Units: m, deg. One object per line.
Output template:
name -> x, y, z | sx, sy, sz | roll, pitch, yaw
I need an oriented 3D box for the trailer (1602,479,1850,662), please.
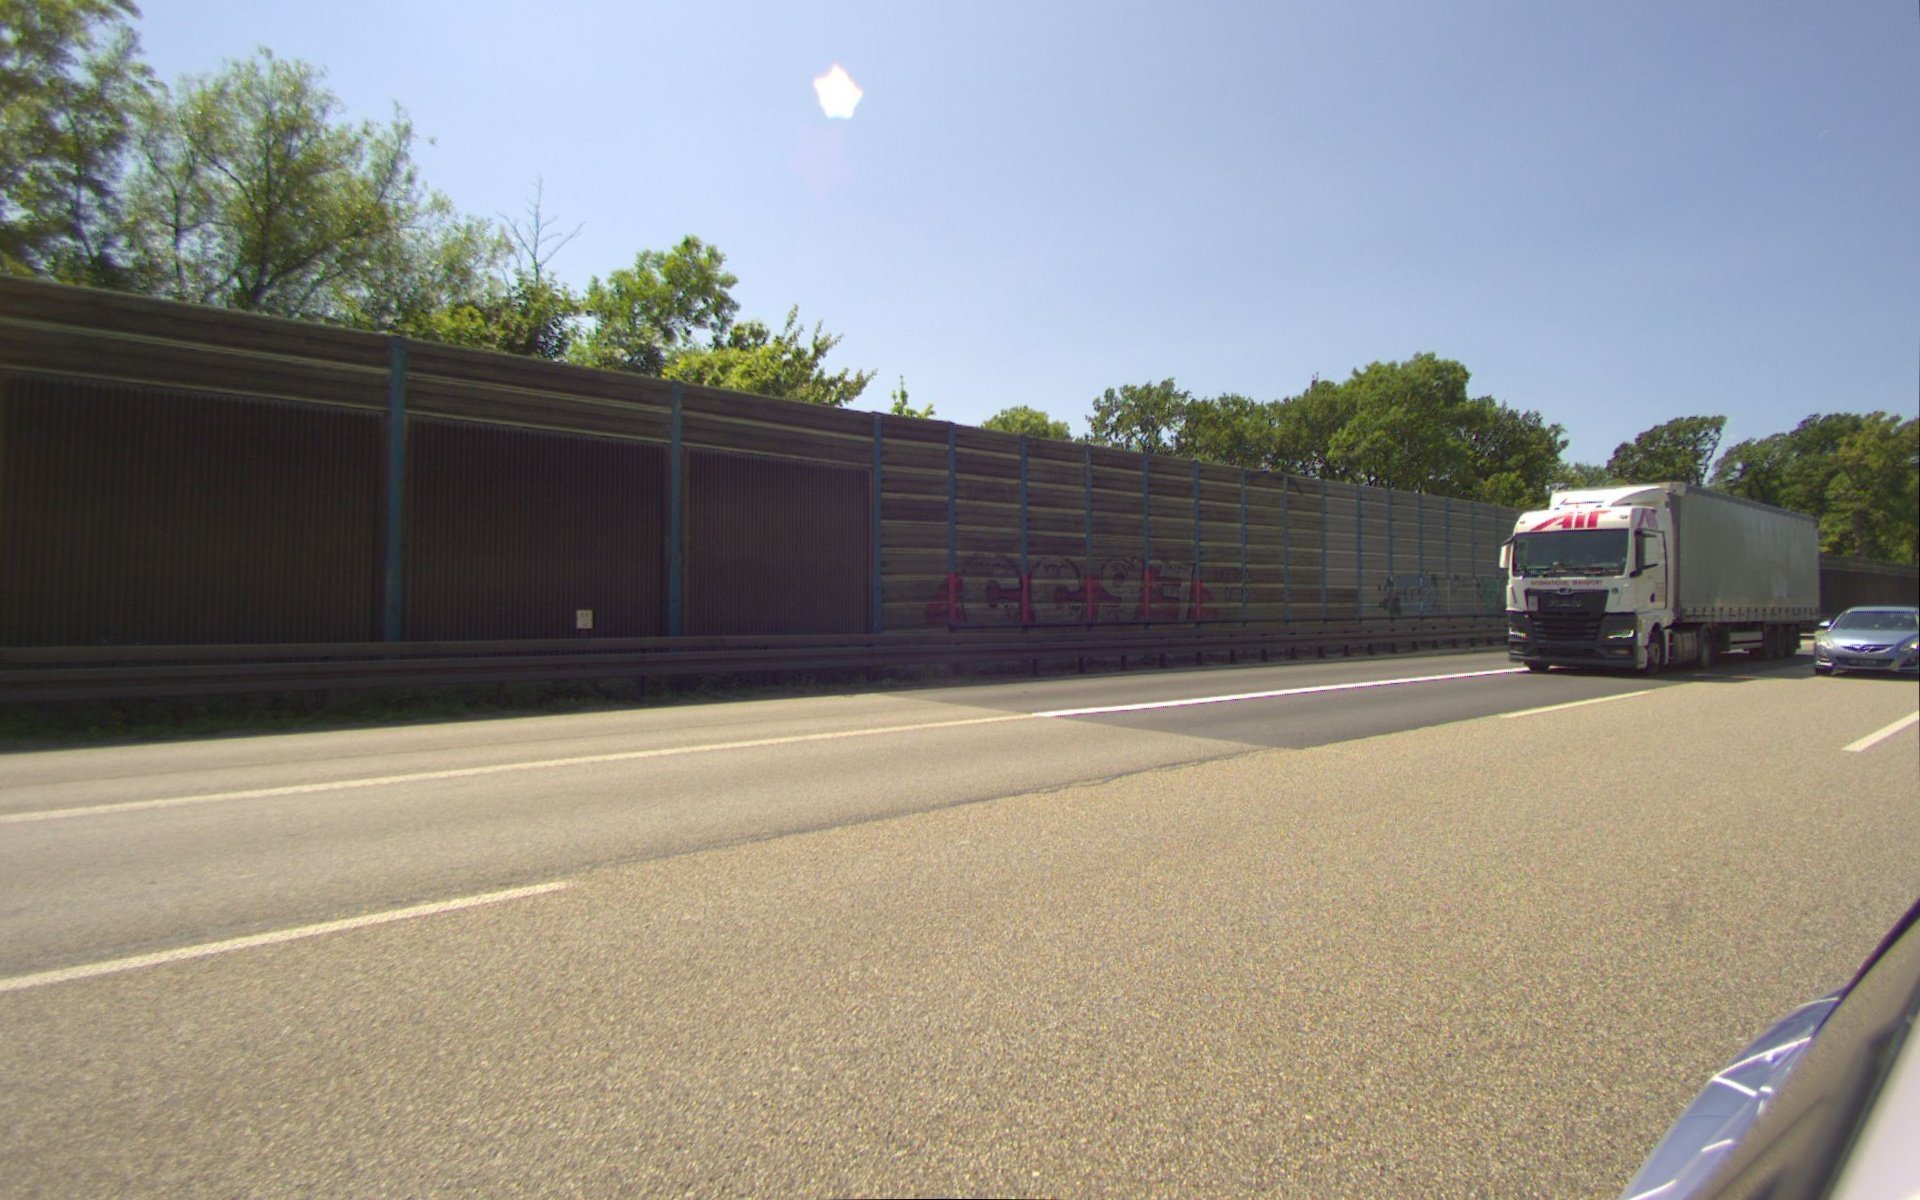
trailer -> 21.758, -0.711, 28.216 | 13.349, 4.142, 2.603 | 0, 0, -40

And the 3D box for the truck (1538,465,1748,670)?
truck -> 15.716, -0.676, 23.177 | 5.454, 4.142, 2.603 | 0, 0, -40

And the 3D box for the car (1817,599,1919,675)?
car -> 19.587, 0.724, 21.172 | 4.102, 1.452, 1.859 | 1, -1, -40
